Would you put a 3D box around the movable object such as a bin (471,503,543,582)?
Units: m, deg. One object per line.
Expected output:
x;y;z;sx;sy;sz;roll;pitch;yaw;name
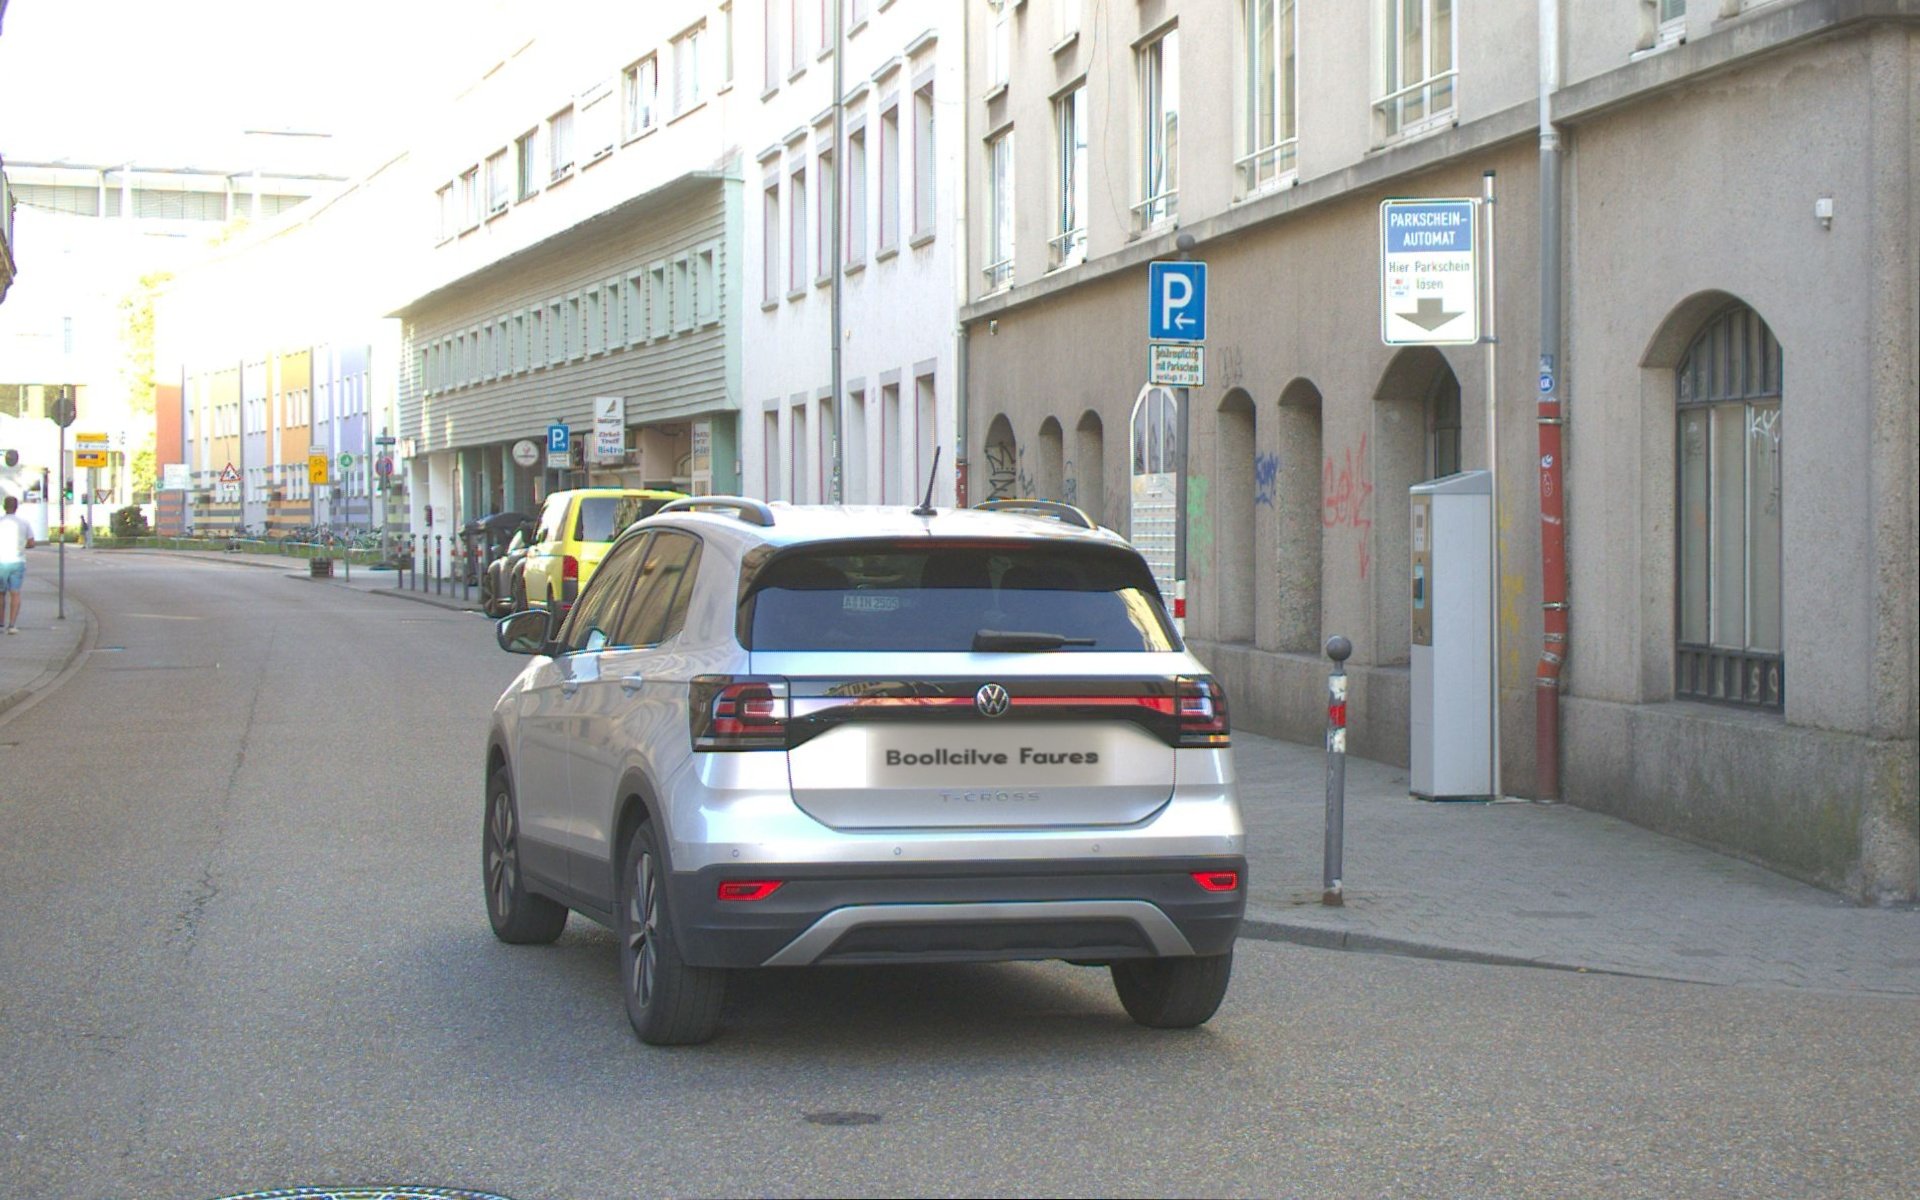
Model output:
-9.023;-1.146;68.384;1.131;1.552;1.740;0;1;-17;movable object such as a bin

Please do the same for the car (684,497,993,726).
-1.068;0.031;27.899;1.967;1.686;4.102;1;1;-9;car

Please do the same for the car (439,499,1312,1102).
-0.480;0.463;11.115;1.836;1.557;4.001;-1;2;-16;car

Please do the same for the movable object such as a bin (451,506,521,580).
-9.664;-1.169;70.070;1.131;1.474;1.740;0;1;-17;movable object such as a bin

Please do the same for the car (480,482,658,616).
-5.730;-0.777;50.023;2.052;1.866;4.102;0;2;-14;car

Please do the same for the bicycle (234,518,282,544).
-27.040;-2.643;132.352;1.780;0.997;0.547;0;1;-15;bicycle

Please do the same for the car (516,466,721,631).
-4.452;-0.694;44.270;2.052;2.006;4.176;0;2;-14;car

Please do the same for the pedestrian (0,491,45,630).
-11.793;-0.499;42.800;0.765;1.718;0.687;0;1;-15;pedestrian
